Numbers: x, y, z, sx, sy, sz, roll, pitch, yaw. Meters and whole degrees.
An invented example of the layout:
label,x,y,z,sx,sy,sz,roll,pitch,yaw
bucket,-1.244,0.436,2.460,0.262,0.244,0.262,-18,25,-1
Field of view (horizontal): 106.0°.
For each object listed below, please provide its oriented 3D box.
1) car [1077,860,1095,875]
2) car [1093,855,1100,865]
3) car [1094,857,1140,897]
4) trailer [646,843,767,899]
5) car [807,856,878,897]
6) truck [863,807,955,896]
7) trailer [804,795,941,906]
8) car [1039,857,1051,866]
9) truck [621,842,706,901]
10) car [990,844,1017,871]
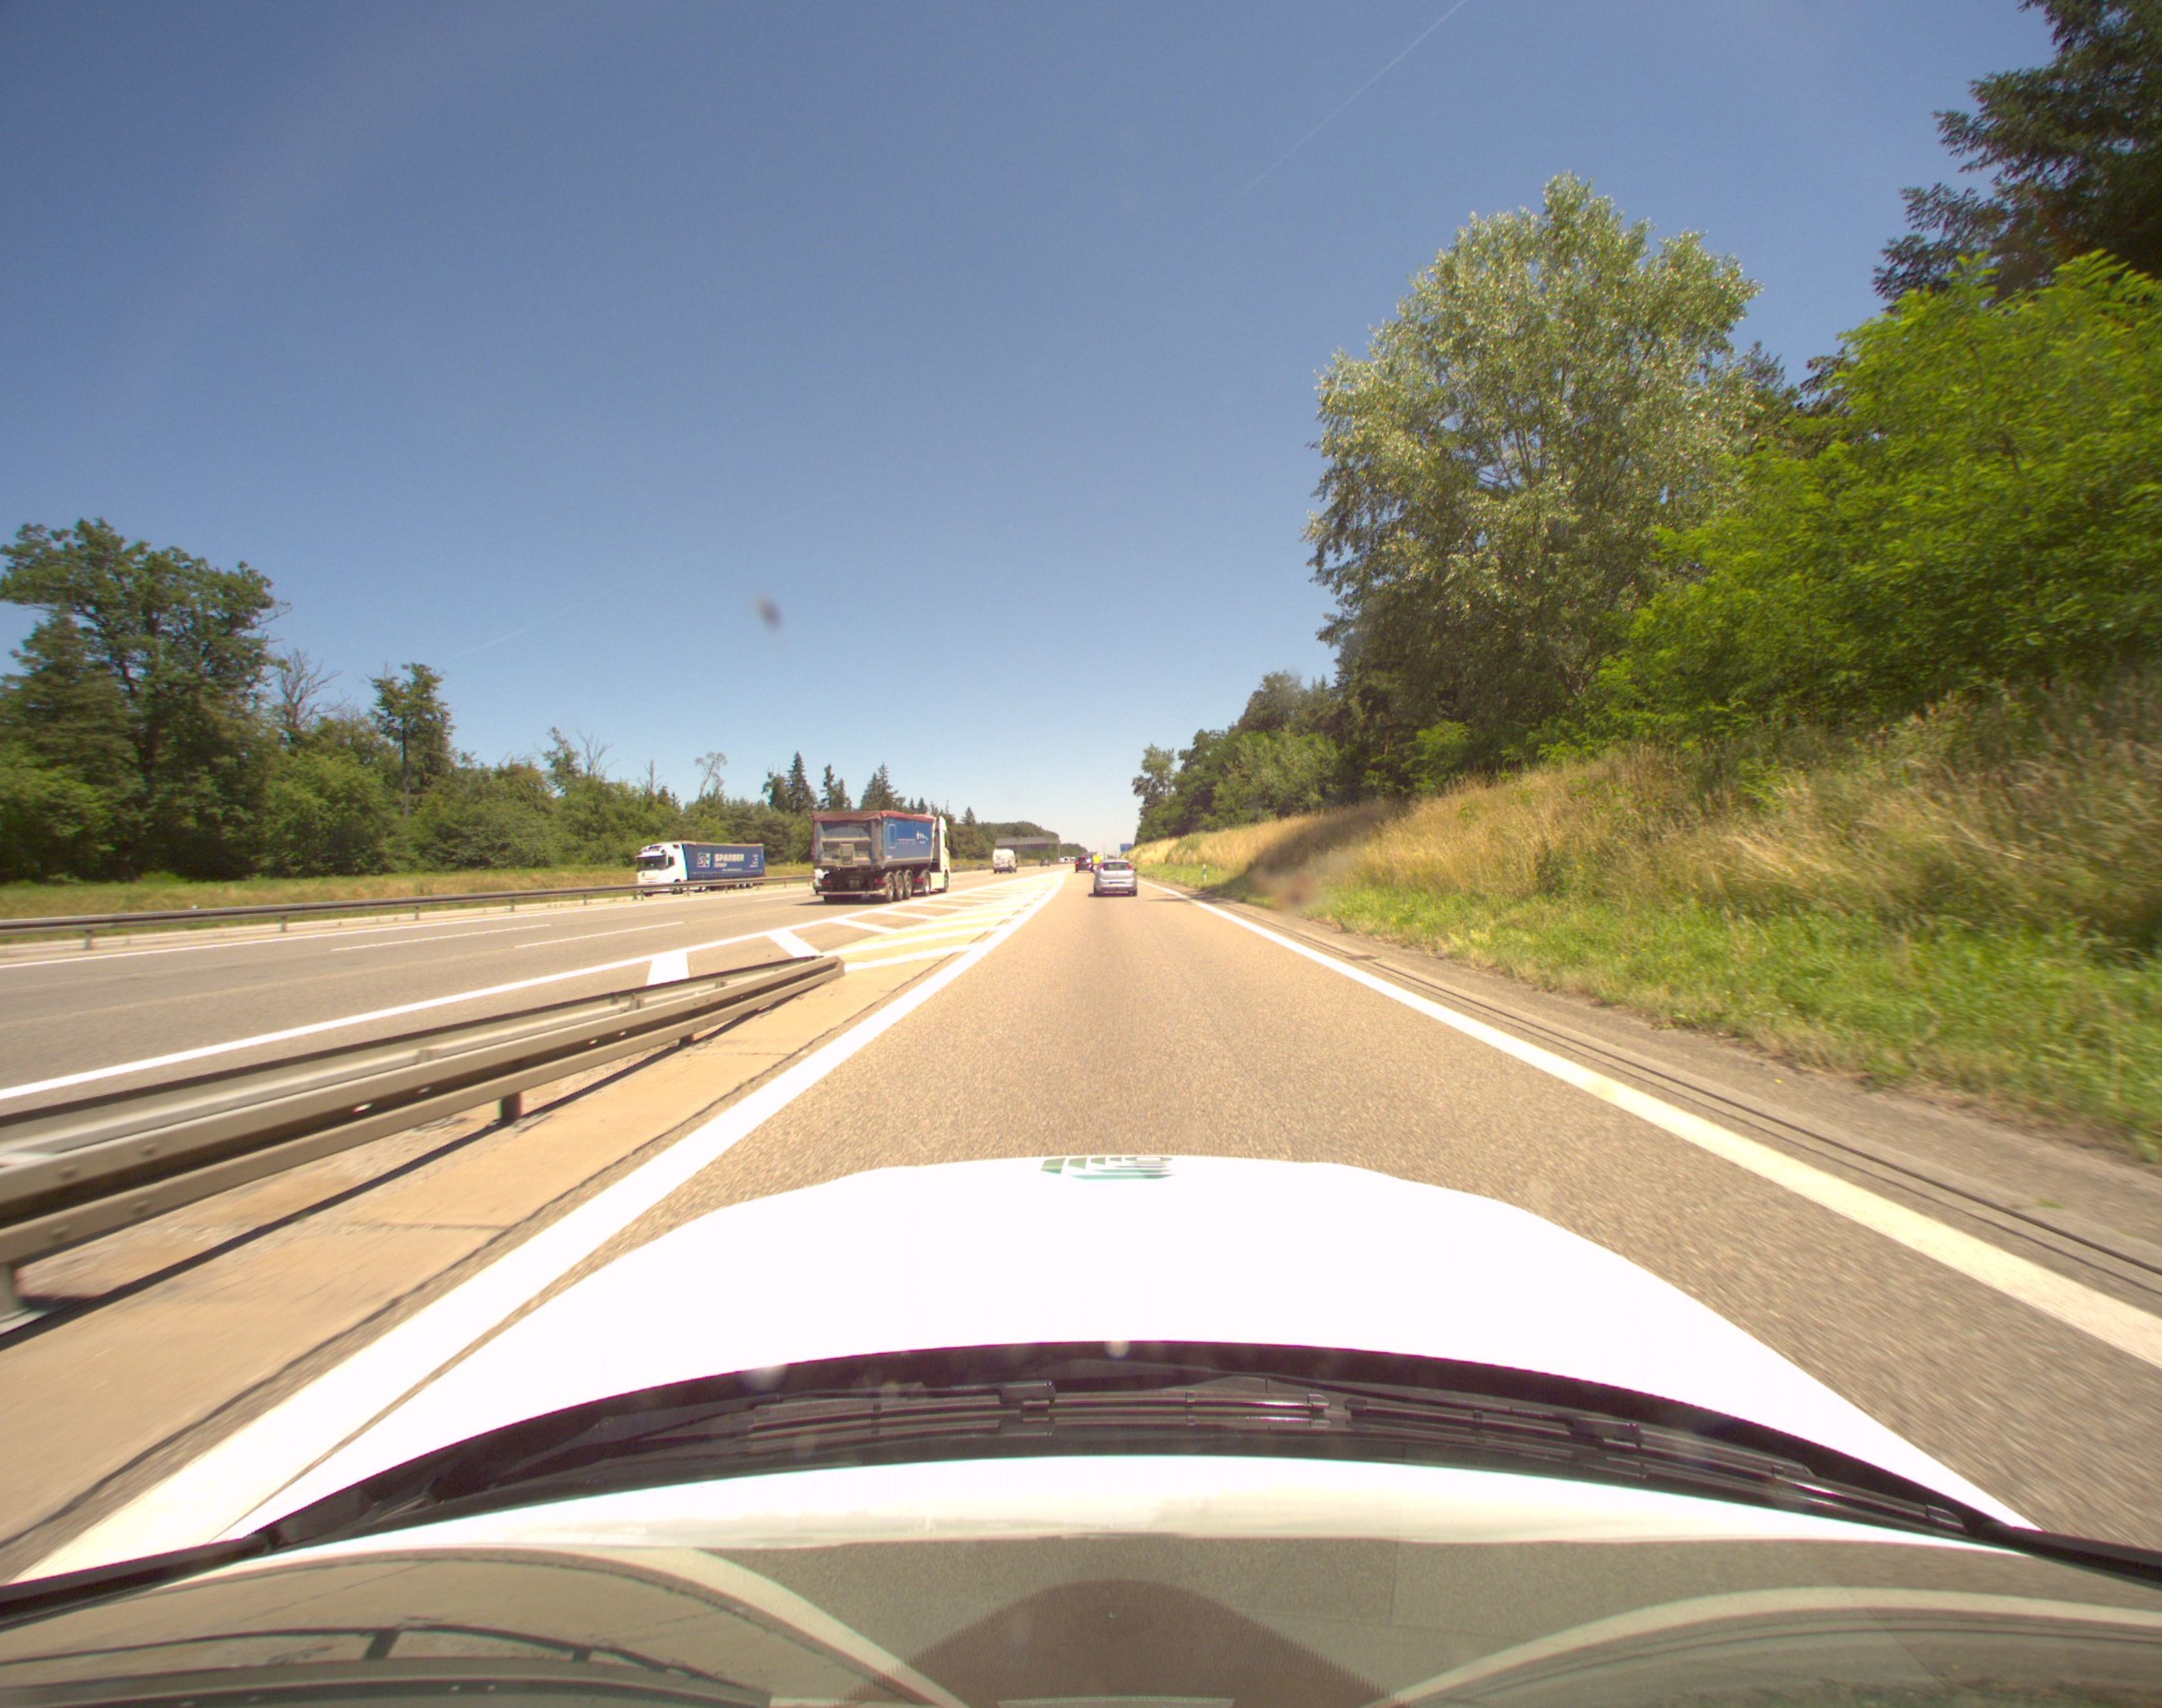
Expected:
label,x,y,z,sx,sy,sz,roll,pitch,yaw
car,0.555,1.463,88.683,1.824,1.672,4.002,-1,-1,3
car,3.360,1.284,178.787,1.606,2.014,4.001,-1,-1,1
car,1.416,0.890,33.136,1.713,1.491,3.738,-1,0,1
trailer,-31.622,1.376,69.915,3.190,4.172,13.992,-3,-1,3
car,-11.710,1.059,40.299,1.824,1.833,4.720,-2,0,3
truck,-7.837,-0.096,37.867,2.674,3.758,5.947,-2,0,2
trailer,-8.040,-0.119,32.858,2.726,3.758,9.113,-2,0,2
car,-7.849,1.680,177.660,2.149,1.814,4.861,-1,0,1
truck,-31.941,1.316,62.612,3.190,4.172,5.725,-3,-1,2
car,-8.981,0.405,94.932,2.251,2.951,6.117,-1,-1,2
